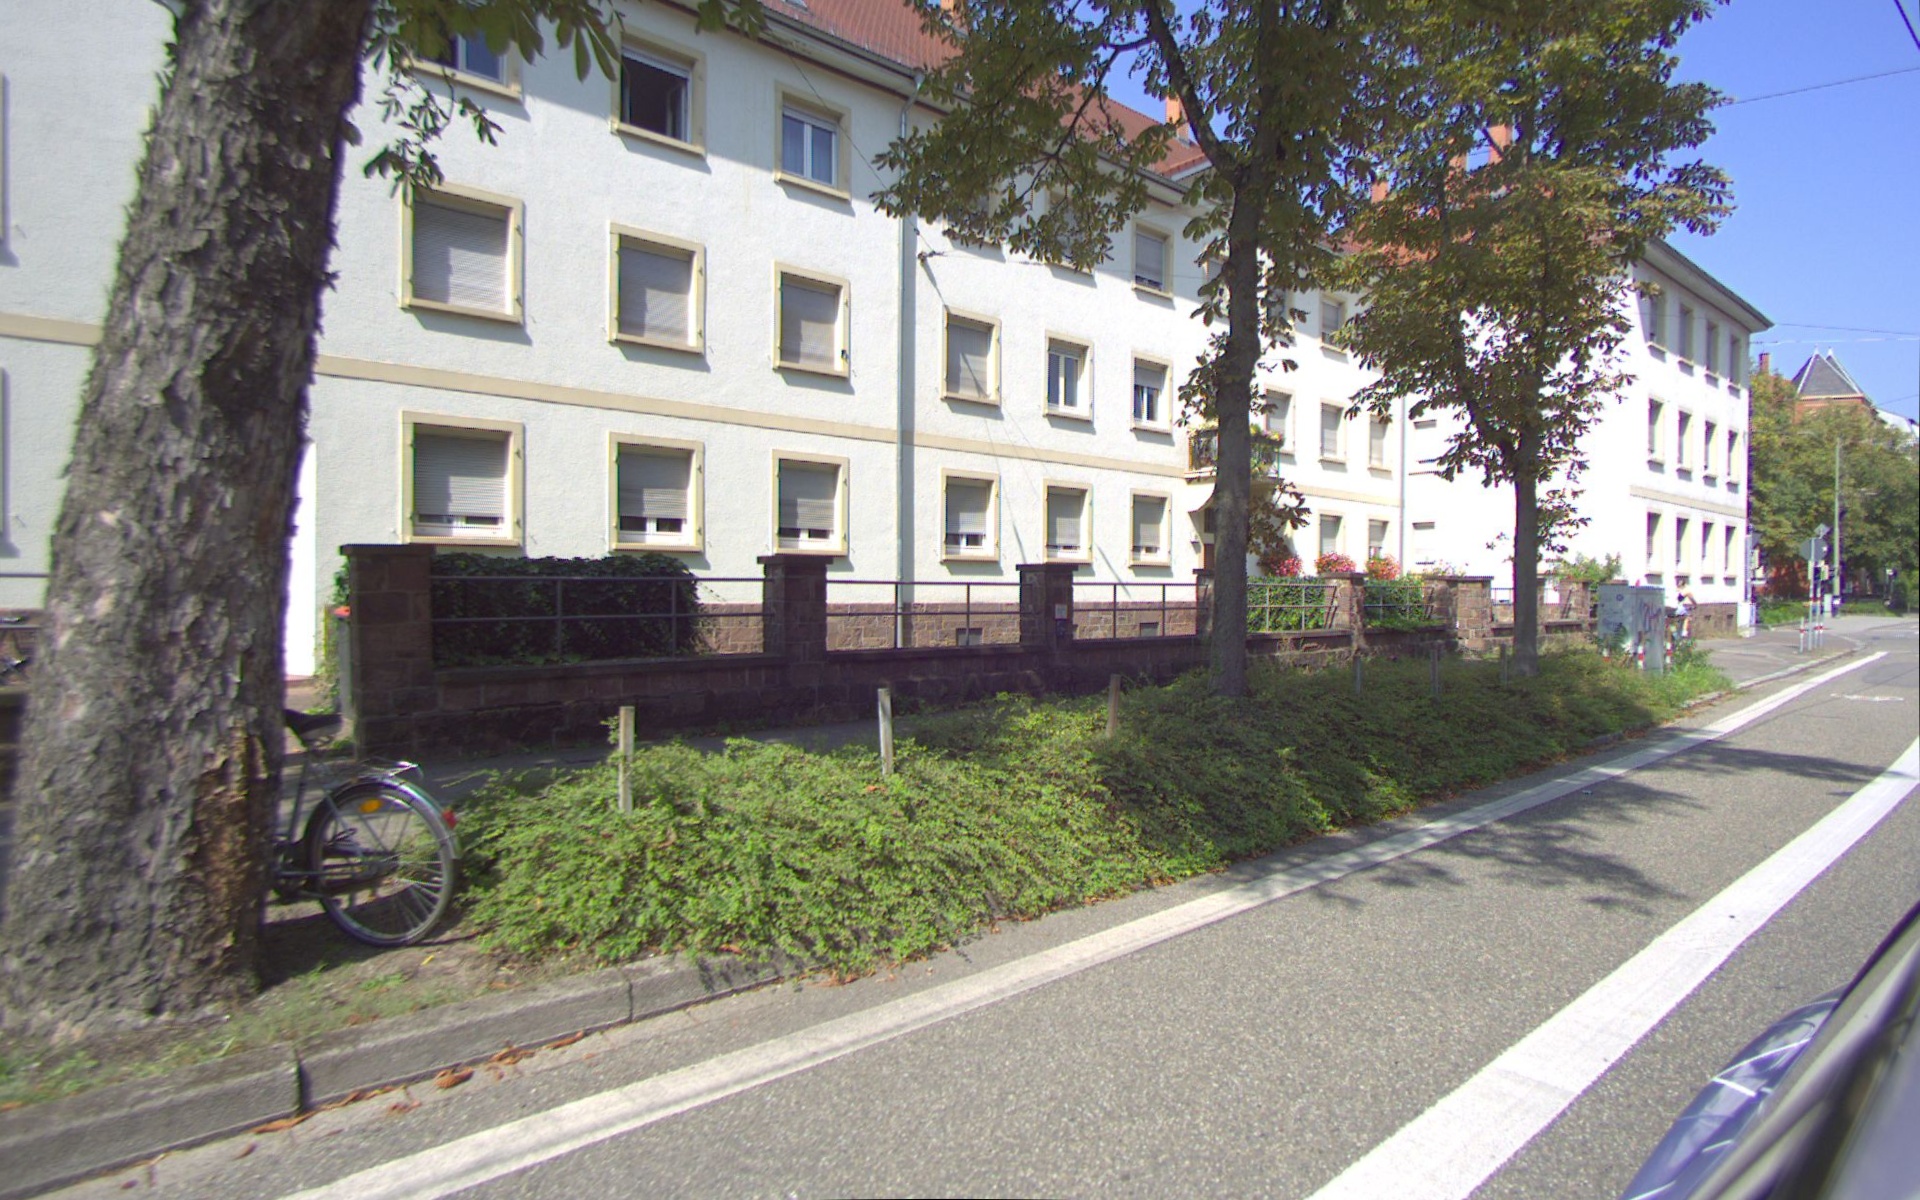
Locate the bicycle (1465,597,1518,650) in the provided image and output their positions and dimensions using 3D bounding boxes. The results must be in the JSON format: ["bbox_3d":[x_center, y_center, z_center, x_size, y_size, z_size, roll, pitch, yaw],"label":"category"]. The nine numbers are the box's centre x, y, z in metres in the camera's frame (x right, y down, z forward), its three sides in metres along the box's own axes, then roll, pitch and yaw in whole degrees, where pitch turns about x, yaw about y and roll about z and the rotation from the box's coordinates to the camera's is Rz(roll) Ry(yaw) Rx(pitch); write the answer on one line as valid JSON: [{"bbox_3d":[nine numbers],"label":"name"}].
[{"bbox_3d":[11.224,0.479,21.356,1.798,1.060,0.440,0,1,-44],"label":"bicycle"}]

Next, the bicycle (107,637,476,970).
[{"bbox_3d":[-2.592,0.729,3.923,1.372,1.122,0.388,0,0,15],"label":"bicycle"}]

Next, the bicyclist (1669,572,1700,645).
[{"bbox_3d":[15.378,0.174,21.477,0.463,1.531,0.438,0,0,-40],"label":"bicyclist"}]

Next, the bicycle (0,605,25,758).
[{"bbox_3d":[-7.680,0.601,7.056,1.688,1.107,0.469,0,1,-41],"label":"bicycle"}]

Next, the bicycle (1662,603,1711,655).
[{"bbox_3d":[15.504,0.600,21.584,1.797,1.060,0.441,0,1,-40],"label":"bicycle"}]

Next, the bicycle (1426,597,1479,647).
[{"bbox_3d":[10.791,0.461,22.133,1.798,1.060,0.440,0,1,-44],"label":"bicycle"}]

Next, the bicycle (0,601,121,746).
[{"bbox_3d":[-7.690,0.574,7.950,1.688,1.107,0.469,0,1,-41],"label":"bicycle"}]
